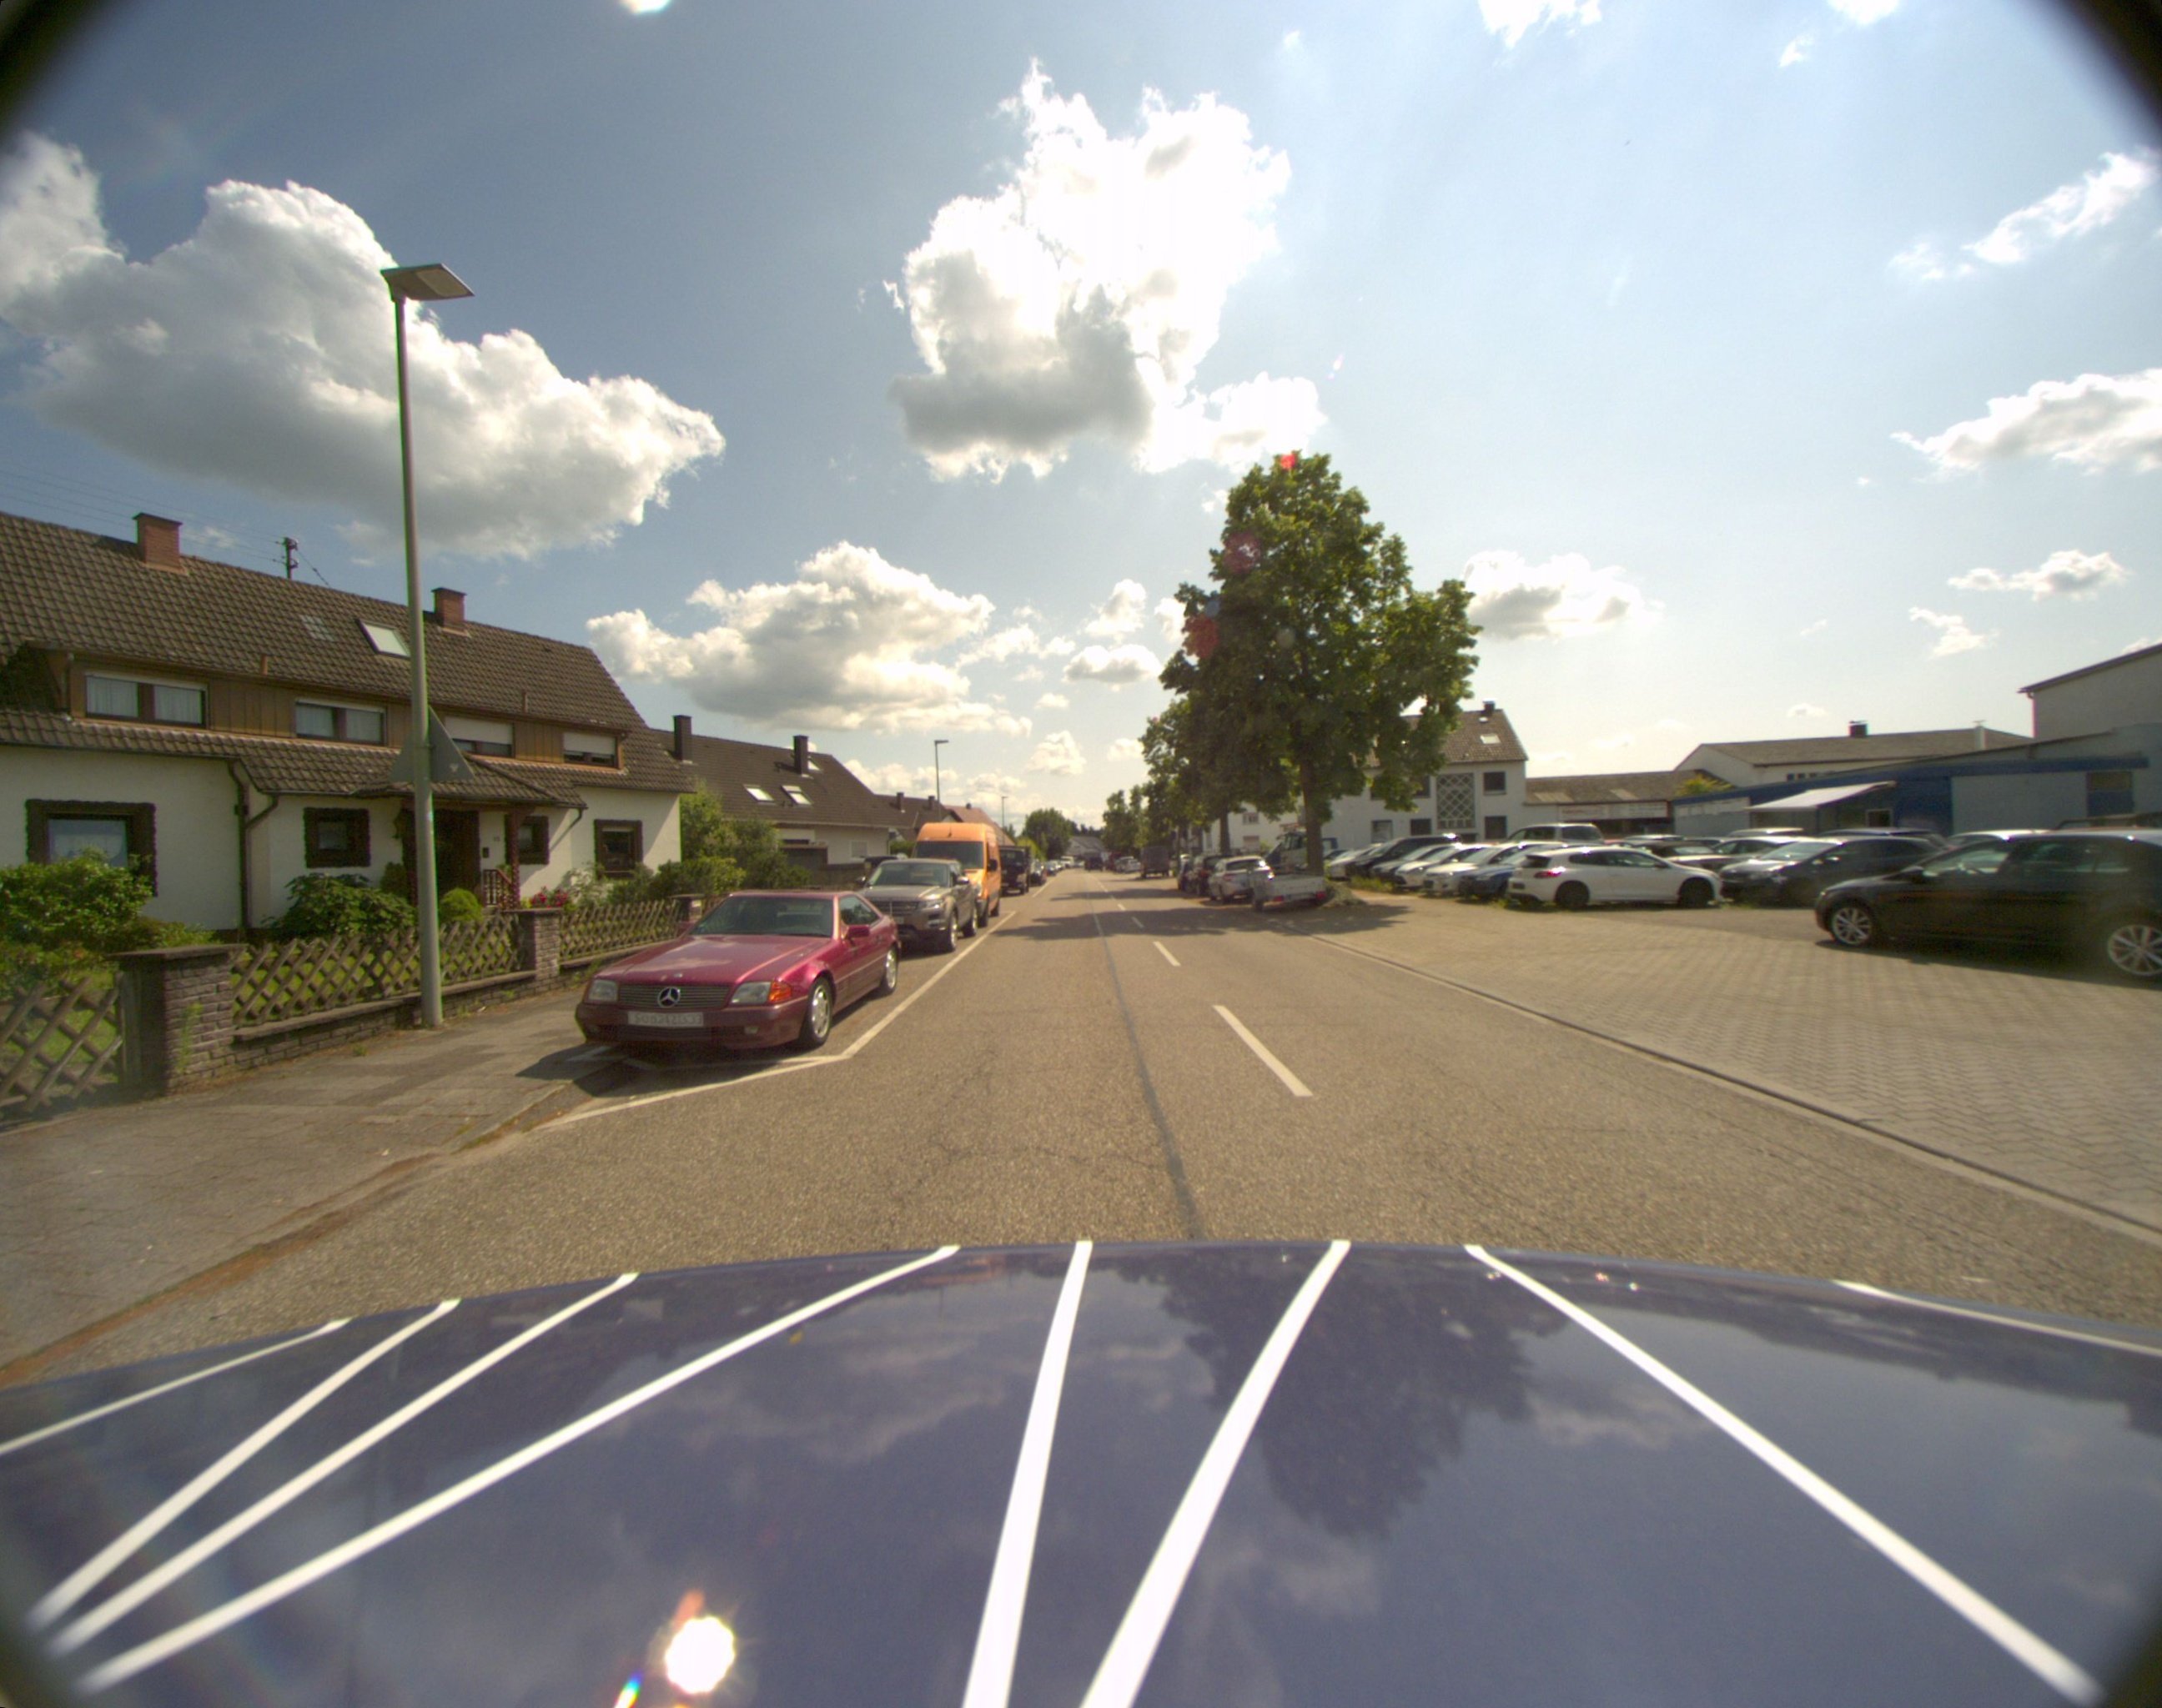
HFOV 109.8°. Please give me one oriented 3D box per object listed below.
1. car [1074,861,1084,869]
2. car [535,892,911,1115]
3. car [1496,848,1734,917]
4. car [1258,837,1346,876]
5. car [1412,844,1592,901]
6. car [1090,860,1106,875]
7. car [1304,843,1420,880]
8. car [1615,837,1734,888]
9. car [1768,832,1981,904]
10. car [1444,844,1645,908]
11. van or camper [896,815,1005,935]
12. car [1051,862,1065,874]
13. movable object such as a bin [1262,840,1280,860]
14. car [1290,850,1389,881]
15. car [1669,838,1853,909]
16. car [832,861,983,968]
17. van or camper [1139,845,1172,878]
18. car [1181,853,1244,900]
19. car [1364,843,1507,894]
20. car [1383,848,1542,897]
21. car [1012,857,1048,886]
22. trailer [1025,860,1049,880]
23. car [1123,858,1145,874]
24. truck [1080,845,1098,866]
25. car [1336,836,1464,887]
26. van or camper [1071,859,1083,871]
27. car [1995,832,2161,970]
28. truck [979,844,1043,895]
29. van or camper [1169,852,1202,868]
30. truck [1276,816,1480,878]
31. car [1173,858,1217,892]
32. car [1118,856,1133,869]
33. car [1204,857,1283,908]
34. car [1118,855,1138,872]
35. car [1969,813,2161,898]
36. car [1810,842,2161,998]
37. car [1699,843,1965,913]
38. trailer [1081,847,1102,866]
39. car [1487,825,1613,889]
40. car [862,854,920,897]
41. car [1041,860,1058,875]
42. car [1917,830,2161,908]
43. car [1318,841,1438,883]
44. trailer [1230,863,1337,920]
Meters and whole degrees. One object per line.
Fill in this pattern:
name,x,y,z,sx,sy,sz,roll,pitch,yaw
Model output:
car,-0.458,2.330,159.675,1.818,1.513,4.266,-1,-1,5
car,-3.062,1.184,7.671,1.673,1.327,4.437,-2,0,0
car,11.890,0.609,17.161,4.035,1.366,1.827,-1,1,5
car,13.496,0.137,46.676,5.008,2.219,2.001,-2,1,13
car,12.057,0.512,21.975,4.154,1.481,1.827,-1,1,3
car,2.332,1.839,105.037,2.056,2.022,5.141,0,0,0
car,12.593,0.351,34.276,4.536,1.573,1.828,-1,-1,2
car,22.122,0.292,28.526,1.645,1.746,3.924,-2,0,6
car,20.359,0.335,19.779,1.714,1.628,4.002,-2,0,8
car,11.856,0.533,19.649,4.036,1.481,1.827,-1,1,3
van or camper,-3.238,0.492,20.074,1.999,2.648,5.768,-2,0,-2
car,-3.448,2.110,114.251,1.896,1.763,4.709,-1,0,-1
movable object such as a bin,15.793,-0.344,63.197,1.311,1.422,1.606,-2,-6,16
car,12.365,0.551,36.578,4.207,1.450,1.679,-1,-1,2
car,18.094,0.482,20.498,1.714,1.686,4.002,-2,0,8
car,-3.067,0.994,14.342,1.837,1.630,4.239,-2,0,0
van or camper,5.793,0.558,59.669,1.998,2.303,5.934,-5,0,2
car,5.355,0.880,31.548,1.697,1.690,4.400,-4,0,-1
car,12.337,0.481,26.667,4.154,1.609,1.827,-1,1,3
car,12.177,0.567,24.457,4.154,1.422,1.827,-1,1,3
car,-3.133,1.050,47.621,1.834,1.652,4.554,-2,0,0
trailer,-3.324,1.225,58.273,1.612,1.370,4.432,-2,0,-2
car,5.799,1.336,83.227,1.753,1.452,4.709,-5,-1,-3
truck,1.294,0.222,130.561,2.780,3.478,5.881,-1,0,-1
car,12.192,0.266,29.228,4.154,1.778,1.827,-1,1,3
van or camper,-0.775,2.135,146.496,1.973,2.345,5.760,-1,-1,3
car,12.916,0.503,7.869,1.758,1.524,4.257,-2,0,0
truck,-3.342,0.706,37.393,2.528,2.286,5.895,1,0,0
van or camper,11.511,0.627,83.541,1.776,1.534,4.007,-3,0,35
truck,14.940,-0.318,38.796,9.278,2.839,2.721,-1,0,4
car,5.445,0.953,36.660,1.703,1.475,4.160,-2,0,4
car,5.517,1.084,94.802,1.626,1.460,3.925,-4,0,1
car,5.521,0.908,26.331,1.837,1.519,4.237,-4,0,2
car,5.451,1.063,88.976,1.814,1.795,4.491,-5,0,-1
car,24.934,0.002,18.739,1.714,1.884,4.002,-2,0,8
car,10.844,0.604,8.080,1.758,1.402,4.584,-2,0,0
car,16.265,0.493,16.658,3.837,1.372,1.795,-1,1,8
trailer,1.729,0.435,125.624,2.842,3.051,8.887,-2,0,-2
car,15.991,0.110,26.183,1.715,2.002,3.999,-2,0,-3
car,-9.037,0.982,36.464,1.862,1.855,5.018,-2,0,-5
car,-3.323,1.400,80.970,1.748,1.541,4.121,-1,0,-2
car,20.618,0.295,16.061,3.565,1.431,1.795,-1,4,12
car,12.403,0.335,31.904,4.306,1.605,1.827,-1,-1,-1
trailer,5.594,0.981,21.631,1.766,1.282,4.508,-5,0,0
